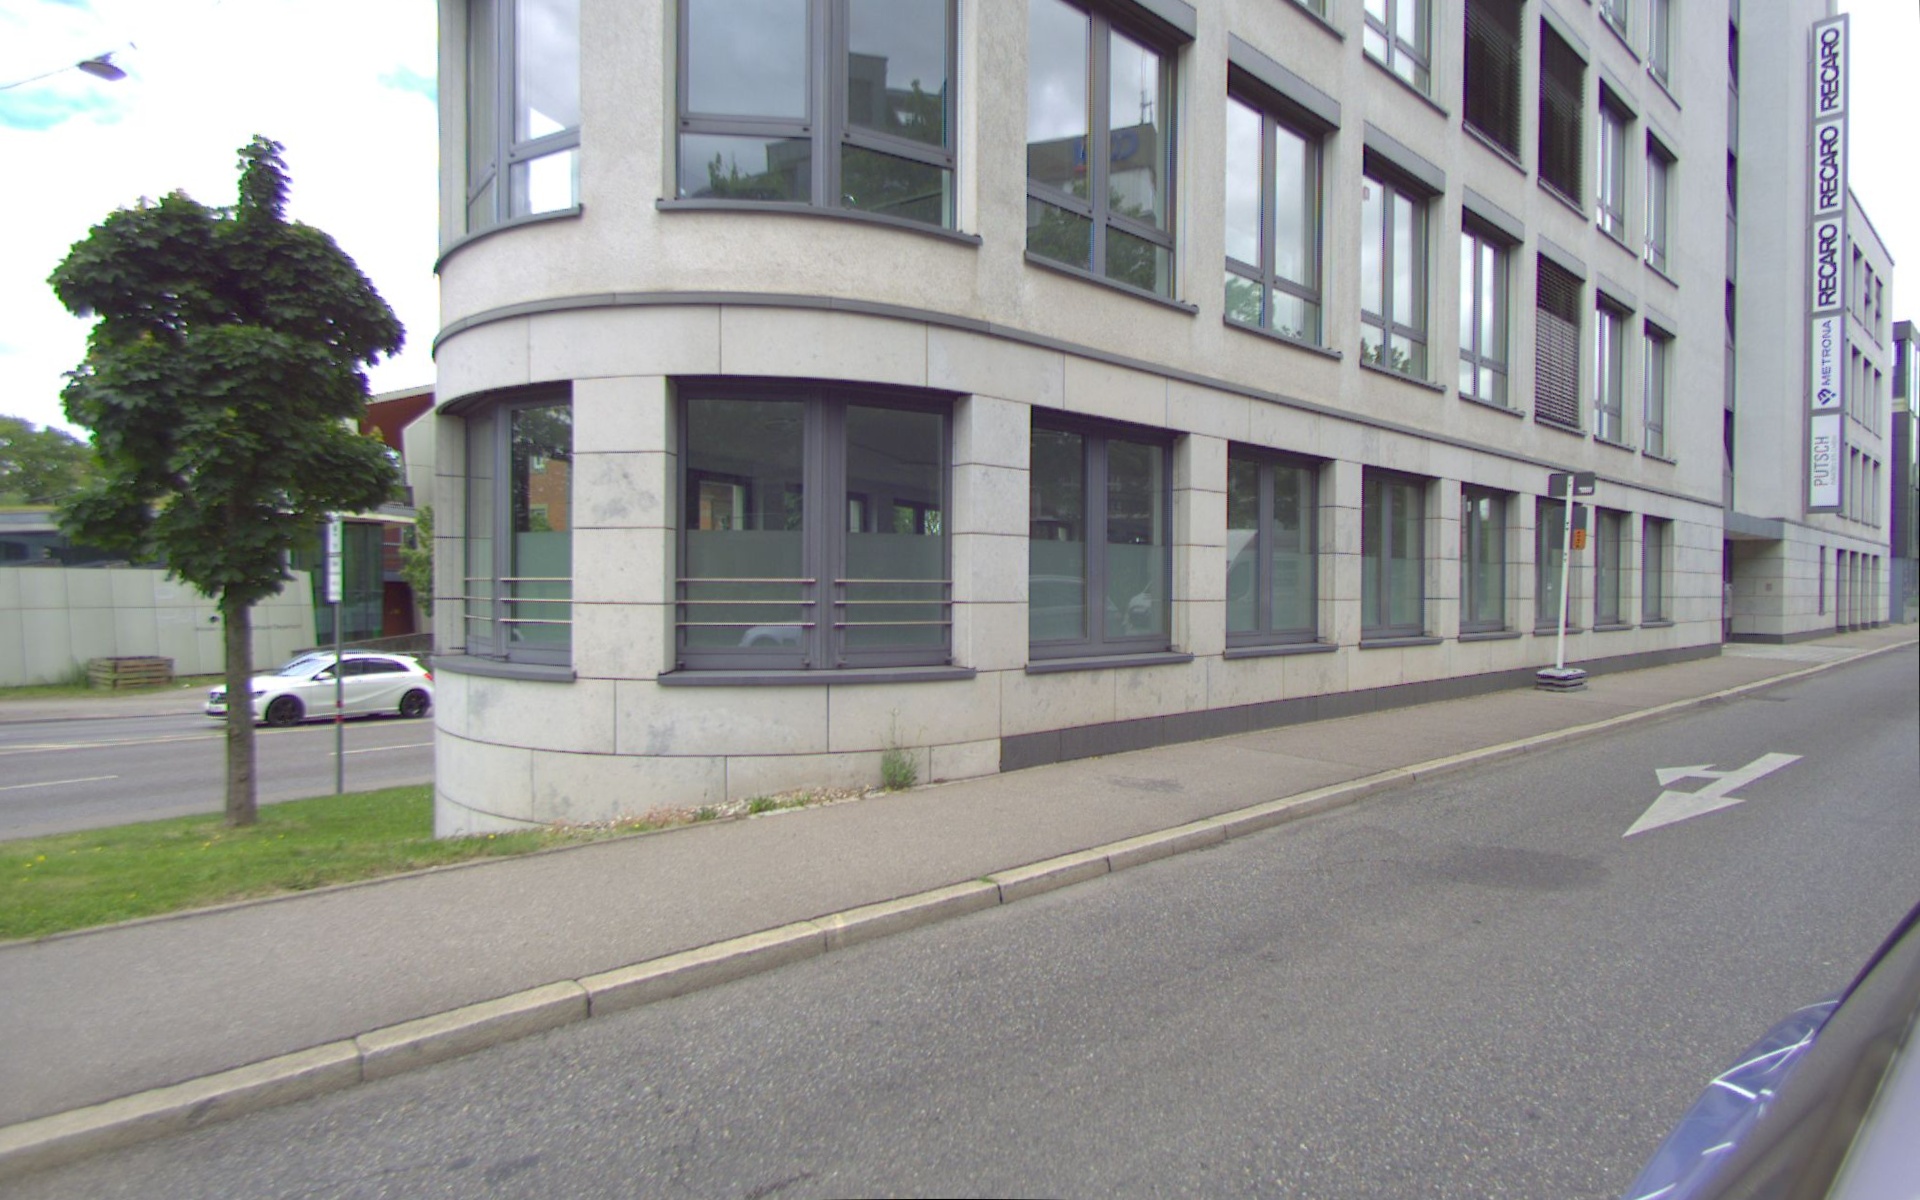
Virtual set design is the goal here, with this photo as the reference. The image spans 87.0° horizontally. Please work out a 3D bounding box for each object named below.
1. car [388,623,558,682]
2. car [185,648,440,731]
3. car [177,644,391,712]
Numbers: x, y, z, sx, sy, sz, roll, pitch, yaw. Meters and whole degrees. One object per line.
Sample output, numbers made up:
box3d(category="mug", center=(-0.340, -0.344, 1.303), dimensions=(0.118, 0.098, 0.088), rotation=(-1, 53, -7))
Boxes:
box3d(category="car", center=(-13.370, 1.410, 27.982), dimensions=(1.674, 1.459, 3.935), rotation=(-2, -2, 34))
box3d(category="car", center=(-13.493, 1.792, 21.371), dimensions=(1.741, 1.394, 4.241), rotation=(-1, -1, 30))
box3d(category="car", center=(-16.006, 1.800, 24.160), dimensions=(1.674, 1.350, 3.935), rotation=(-1, -1, 34))
